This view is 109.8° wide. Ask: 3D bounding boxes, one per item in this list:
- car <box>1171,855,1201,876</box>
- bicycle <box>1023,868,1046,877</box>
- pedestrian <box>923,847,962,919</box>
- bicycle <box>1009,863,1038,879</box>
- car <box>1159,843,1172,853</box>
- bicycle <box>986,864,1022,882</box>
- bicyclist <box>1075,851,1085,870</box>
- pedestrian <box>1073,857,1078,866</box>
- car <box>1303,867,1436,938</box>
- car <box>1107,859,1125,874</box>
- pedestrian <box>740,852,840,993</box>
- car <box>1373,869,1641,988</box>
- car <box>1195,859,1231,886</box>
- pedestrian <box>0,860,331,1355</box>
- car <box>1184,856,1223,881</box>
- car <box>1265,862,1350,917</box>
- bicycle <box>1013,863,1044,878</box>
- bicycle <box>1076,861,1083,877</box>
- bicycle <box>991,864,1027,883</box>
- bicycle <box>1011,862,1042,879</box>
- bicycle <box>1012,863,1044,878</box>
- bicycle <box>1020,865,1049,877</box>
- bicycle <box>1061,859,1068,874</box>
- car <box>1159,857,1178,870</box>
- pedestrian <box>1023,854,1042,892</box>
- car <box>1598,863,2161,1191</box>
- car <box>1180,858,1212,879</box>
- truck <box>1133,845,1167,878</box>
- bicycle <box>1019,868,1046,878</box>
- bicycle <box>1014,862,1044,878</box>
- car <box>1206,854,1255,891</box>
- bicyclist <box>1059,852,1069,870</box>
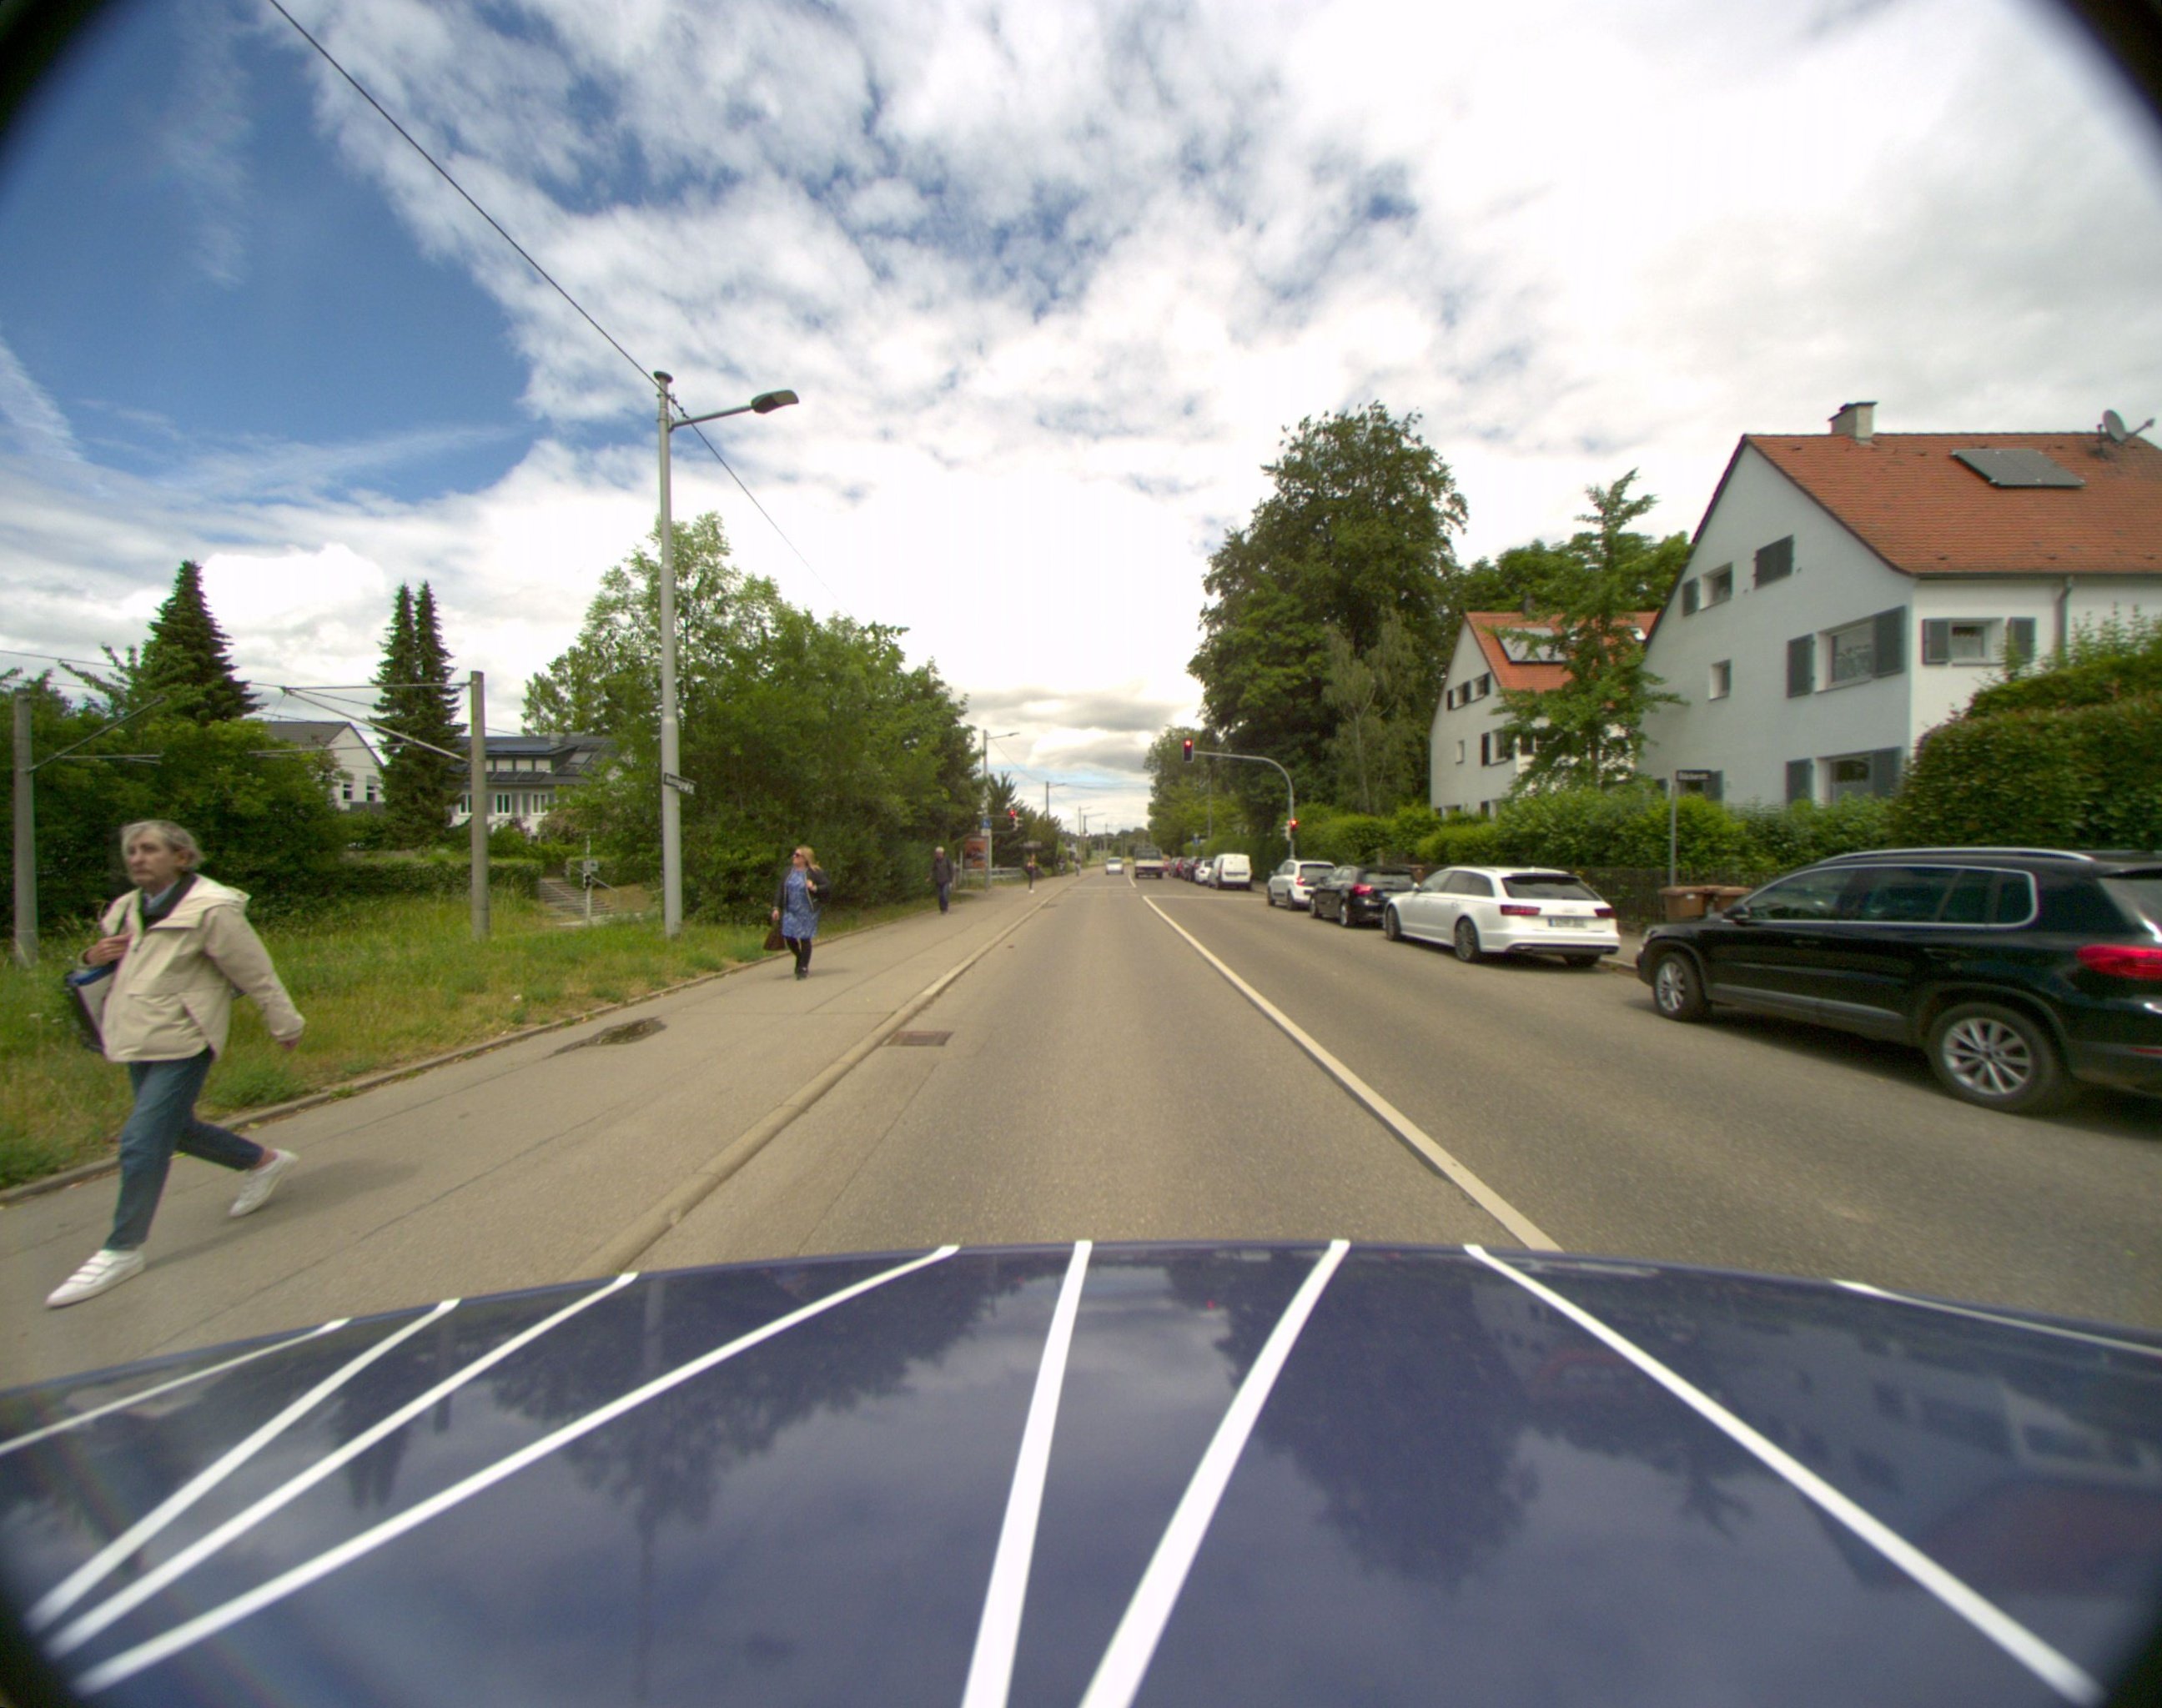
[{"bbox_3d":[8.341,0.906,60.854,1.794,1.601,4.417,0,0,0],"label":"car"},{"bbox_3d":[-3.466,1.370,56.740,1.682,0.635,0.332,-2,1,-9],"label":"bicycle"},{"bbox_3d":[-3.717,0.756,20.419,0.746,1.872,0.801,-2,1,8],"label":"pedestrian"},{"bbox_3d":[-4.012,1.179,52.936,2.090,1.041,0.451,1,1,23],"label":"bicycle"},{"bbox_3d":[11.881,-0.864,106.584,1.675,1.363,3.608,1,0,8],"label":"car"},{"bbox_3d":[-4.693,1.168,46.255,2.093,1.074,0.547,0,1,5],"label":"bicycle"},{"bbox_3d":[-0.080,0.552,64.882,0.827,1.529,0.861,-2,1,-3],"label":"bicyclist"},{"bbox_3d":[-0.741,1.047,105.729,0.588,1.272,0.582,-2,1,6],"label":"pedestrian"},{"bbox_3d":[6.802,1.073,18.416,1.747,1.402,4.324,1,0,3],"label":"car"},{"bbox_3d":[3.339,1.150,73.442,1.665,1.394,3.900,0,0,2],"label":"car"},{"bbox_3d":[-3.558,0.816,9.347,0.841,1.649,0.766,-2,1,6],"label":"pedestrian"},{"bbox_3d":[6.665,1.045,12.693,1.809,1.450,5.070,1,0,3],"label":"car"},{"bbox_3d":[7.656,1.035,44.392,1.708,1.445,4.359,3,0,6],"label":"car"},{"bbox_3d":[-3.591,0.861,2.907,0.687,1.649,0.690,-2,1,6],"label":"pedestrian"},{"bbox_3d":[7.980,0.926,49.871,1.901,1.584,4.644,0,0,1],"label":"car"},{"bbox_3d":[7.010,1.039,23.847,1.706,1.534,3.743,1,0,3],"label":"car"},{"bbox_3d":[-3.836,1.211,55.733,2.205,1.041,0.451,0,1,8],"label":"bicycle"},{"bbox_3d":[-0.113,1.269,65.132,0.451,1.278,2.207,-2,0,-2],"label":"bicycle"},{"bbox_3d":[-4.504,1.231,47.655,2.093,1.041,0.559,-3,1,5],"label":"bicycle"},{"bbox_3d":[-3.855,1.172,53.711,2.094,1.144,0.530,-1,1,0],"label":"bicycle"},{"bbox_3d":[-3.804,1.175,54.703,2.206,1.041,0.451,-1,1,0],"label":"bicycle"},{"bbox_3d":[-3.581,1.311,58.518,2.080,0.821,0.451,-2,1,8],"label":"bicycle"},{"bbox_3d":[-1.363,1.049,64.204,0.451,1.143,2.208,0,0,2],"label":"bicycle"},{"bbox_3d":[10.069,1.070,87.553,1.971,1.394,4.067,0,0,4],"label":"car"},{"bbox_3d":[-2.134,0.818,33.470,0.649,1.655,0.708,-2,1,7],"label":"pedestrian"},{"bbox_3d":[6.490,0.951,6.041,1.630,1.668,4.584,2,0,1],"label":"car"},{"bbox_3d":[8.303,1.021,55.142,1.737,1.450,4.237,0,0,2],"label":"car"},{"bbox_3d":[5.139,0.546,57.517,2.194,2.358,6.906,1,0,3],"label":"truck"},{"bbox_3d":[-3.668,1.413,57.017,1.988,0.635,0.332,-2,1,-9],"label":"bicycle"},{"bbox_3d":[-3.840,1.154,56.159,2.205,1.143,0.451,0,1,8],"label":"bicycle"},{"bbox_3d":[7.599,0.881,39.077,1.680,1.748,4.608,1,0,1],"label":"car"},{"bbox_3d":[-1.429,0.613,64.297,0.826,1.529,0.862,0,0,1],"label":"bicyclist"}]
